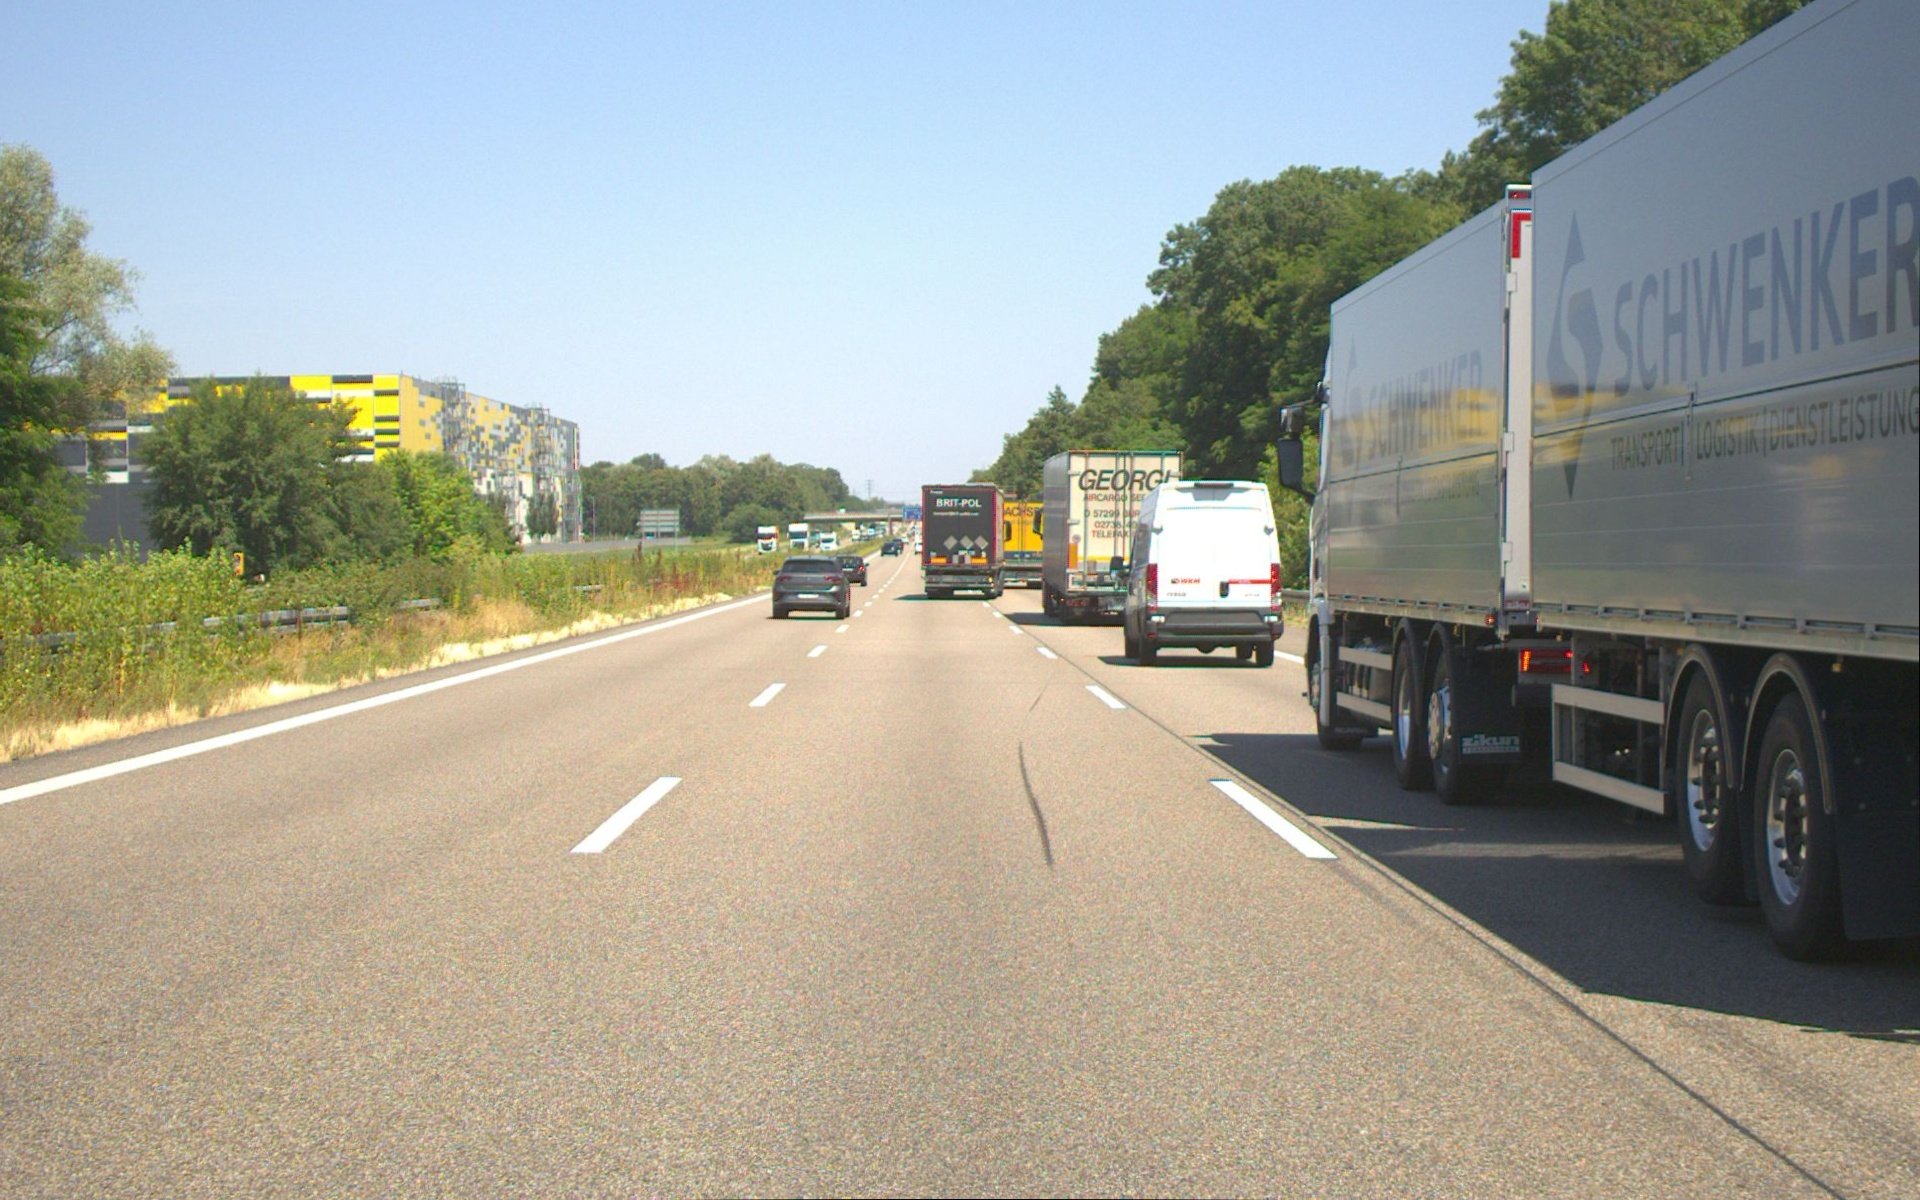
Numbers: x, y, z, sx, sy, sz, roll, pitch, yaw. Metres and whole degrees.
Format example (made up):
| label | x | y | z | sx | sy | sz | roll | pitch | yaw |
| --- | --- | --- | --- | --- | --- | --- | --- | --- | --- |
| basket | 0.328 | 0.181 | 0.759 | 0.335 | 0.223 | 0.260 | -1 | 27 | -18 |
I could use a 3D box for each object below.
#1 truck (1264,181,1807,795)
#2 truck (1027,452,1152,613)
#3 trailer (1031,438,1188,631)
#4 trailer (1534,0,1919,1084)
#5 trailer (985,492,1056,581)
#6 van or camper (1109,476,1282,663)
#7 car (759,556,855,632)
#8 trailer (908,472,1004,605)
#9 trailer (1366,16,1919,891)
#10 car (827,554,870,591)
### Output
| label | x | y | z | sx | sy | sz | roll | pitch | yaw |
| --- | --- | --- | --- | --- | --- | --- | --- | --- | --- |
| truck | 4.117 | -0.777 | 26.214 | 2.889 | 4.016 | 6.870 | 1 | 1 | 0 |
| truck | 3.375 | -1.756 | 90.889 | 3.002 | 4.110 | 5.253 | 0 | 1 | -1 |
| trailer | 3.470 | -1.566 | 83.535 | 2.993 | 4.274 | 13.419 | 1 | 1 | -1 |
| trailer | 4.382 | -0.558 | 12.816 | 2.945 | 4.049 | 8.128 | 1 | 1 | -1 |
| trailer | 2.737 | -2.947 | 158.215 | 2.834 | 3.940 | 11.685 | 0 | 1 | -1 |
| van or camper | 3.485 | -0.485 | 52.025 | 2.022 | 2.628 | 6.487 | 1 | 1 | -1 |
| car | -3.764 | -0.183 | 85.625 | 2.216 | 1.784 | 5.394 | 0 | 1 | -1 |
| trailer | -0.250 | -2.206 | 125.257 | 3.106 | 4.491 | 14.897 | 1 | 1 | -1 |
| trailer | 4.294 | -0.706 | 19.607 | 2.920 | 4.027 | 7.317 | 1 | 1 | -1 |
| car | -5.204 | -1.291 | 160.661 | 1.941 | 1.700 | 4.000 | 0 | 1 | -1 |
